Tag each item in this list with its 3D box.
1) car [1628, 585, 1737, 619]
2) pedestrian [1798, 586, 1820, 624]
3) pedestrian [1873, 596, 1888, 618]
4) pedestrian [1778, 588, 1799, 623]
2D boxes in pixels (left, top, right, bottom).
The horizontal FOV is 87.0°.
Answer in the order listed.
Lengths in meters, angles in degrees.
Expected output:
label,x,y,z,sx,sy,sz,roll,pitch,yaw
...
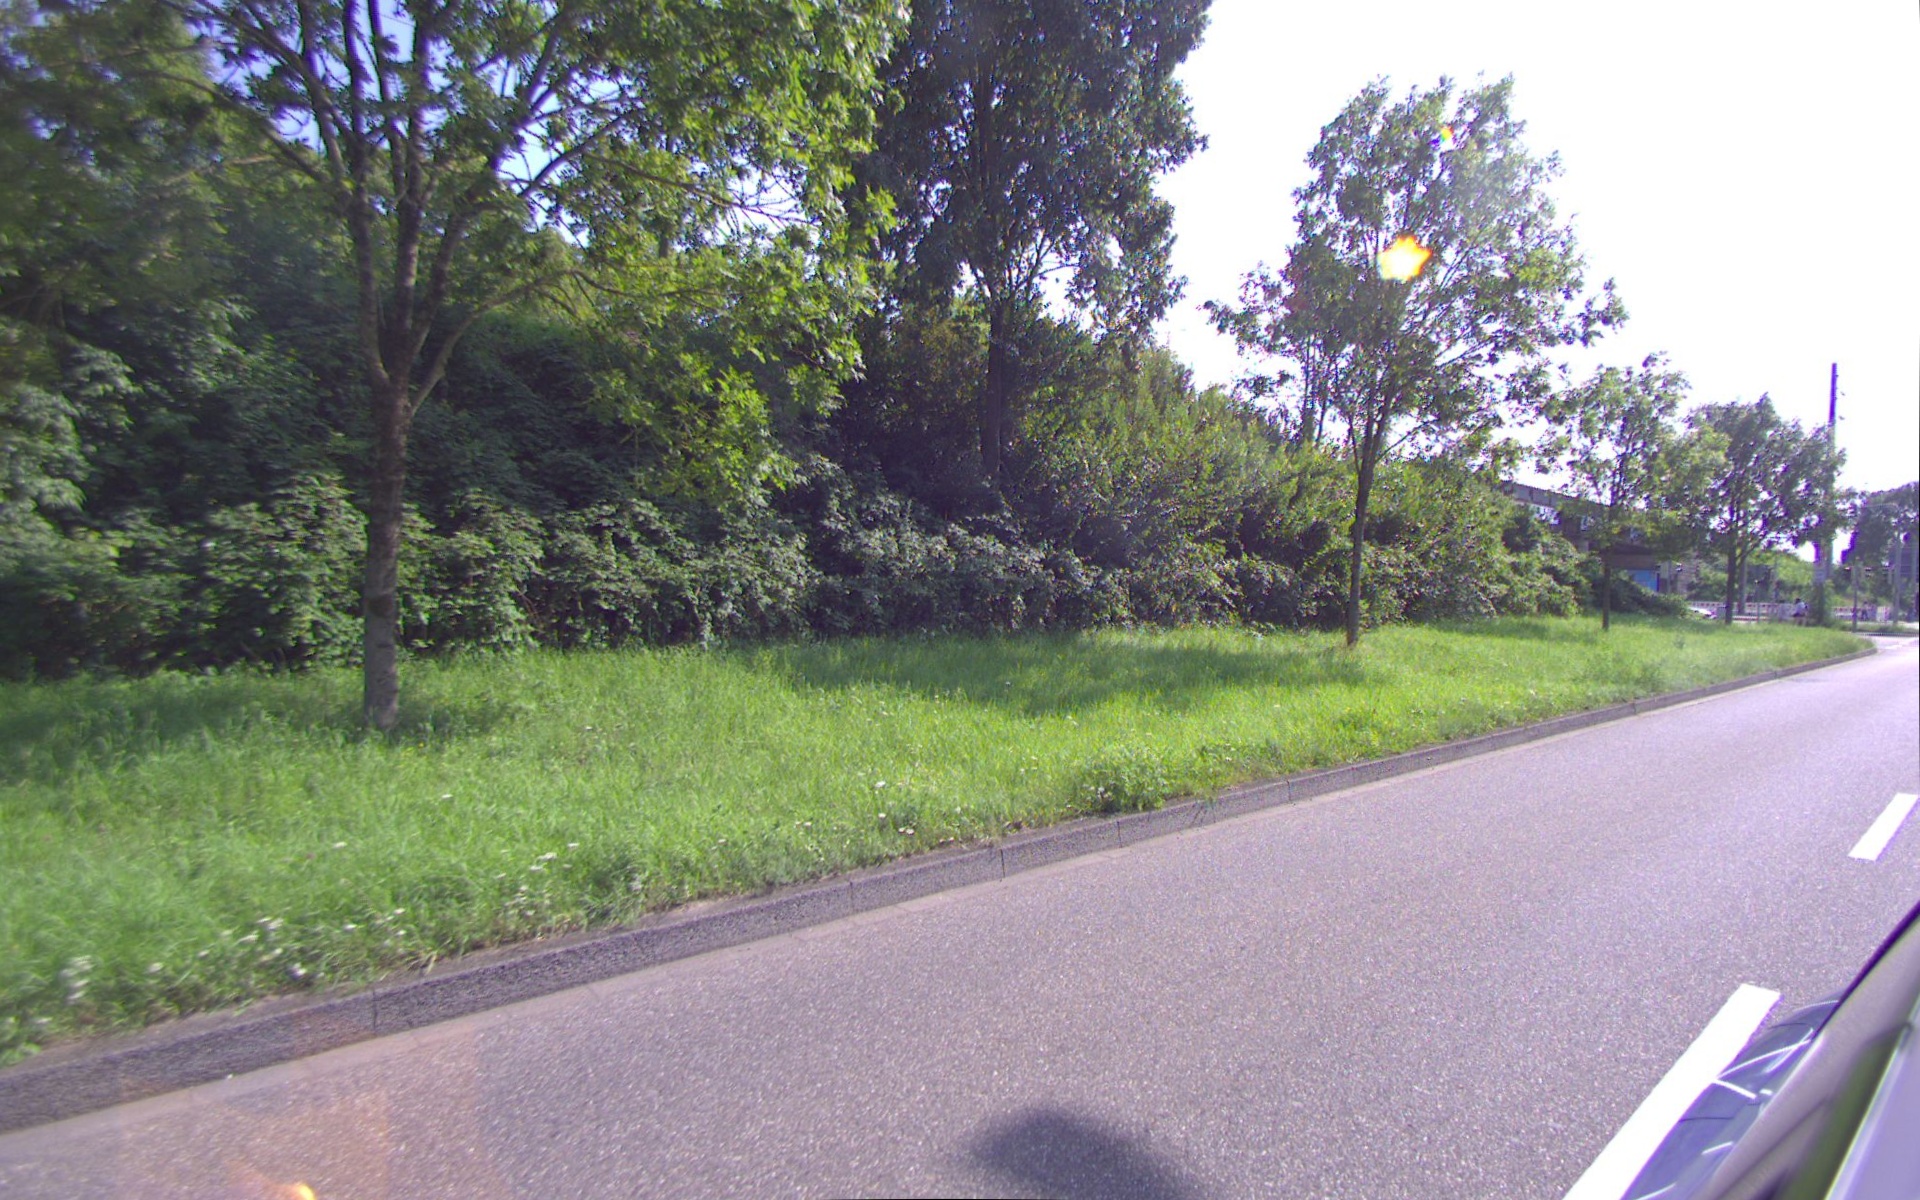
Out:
label,x,y,z,sx,sy,sz,roll,pitch,yaw
car,36.760,0.079,51.642,1.831,1.552,4.204,1,2,-19
pedestrian,39.173,0.235,46.678,0.482,1.703,0.572,1,1,-10
pedestrian,69.641,0.524,76.581,0.624,1.594,0.489,1,0,7
pedestrian,38.846,0.259,47.461,0.563,1.587,0.535,1,1,7
